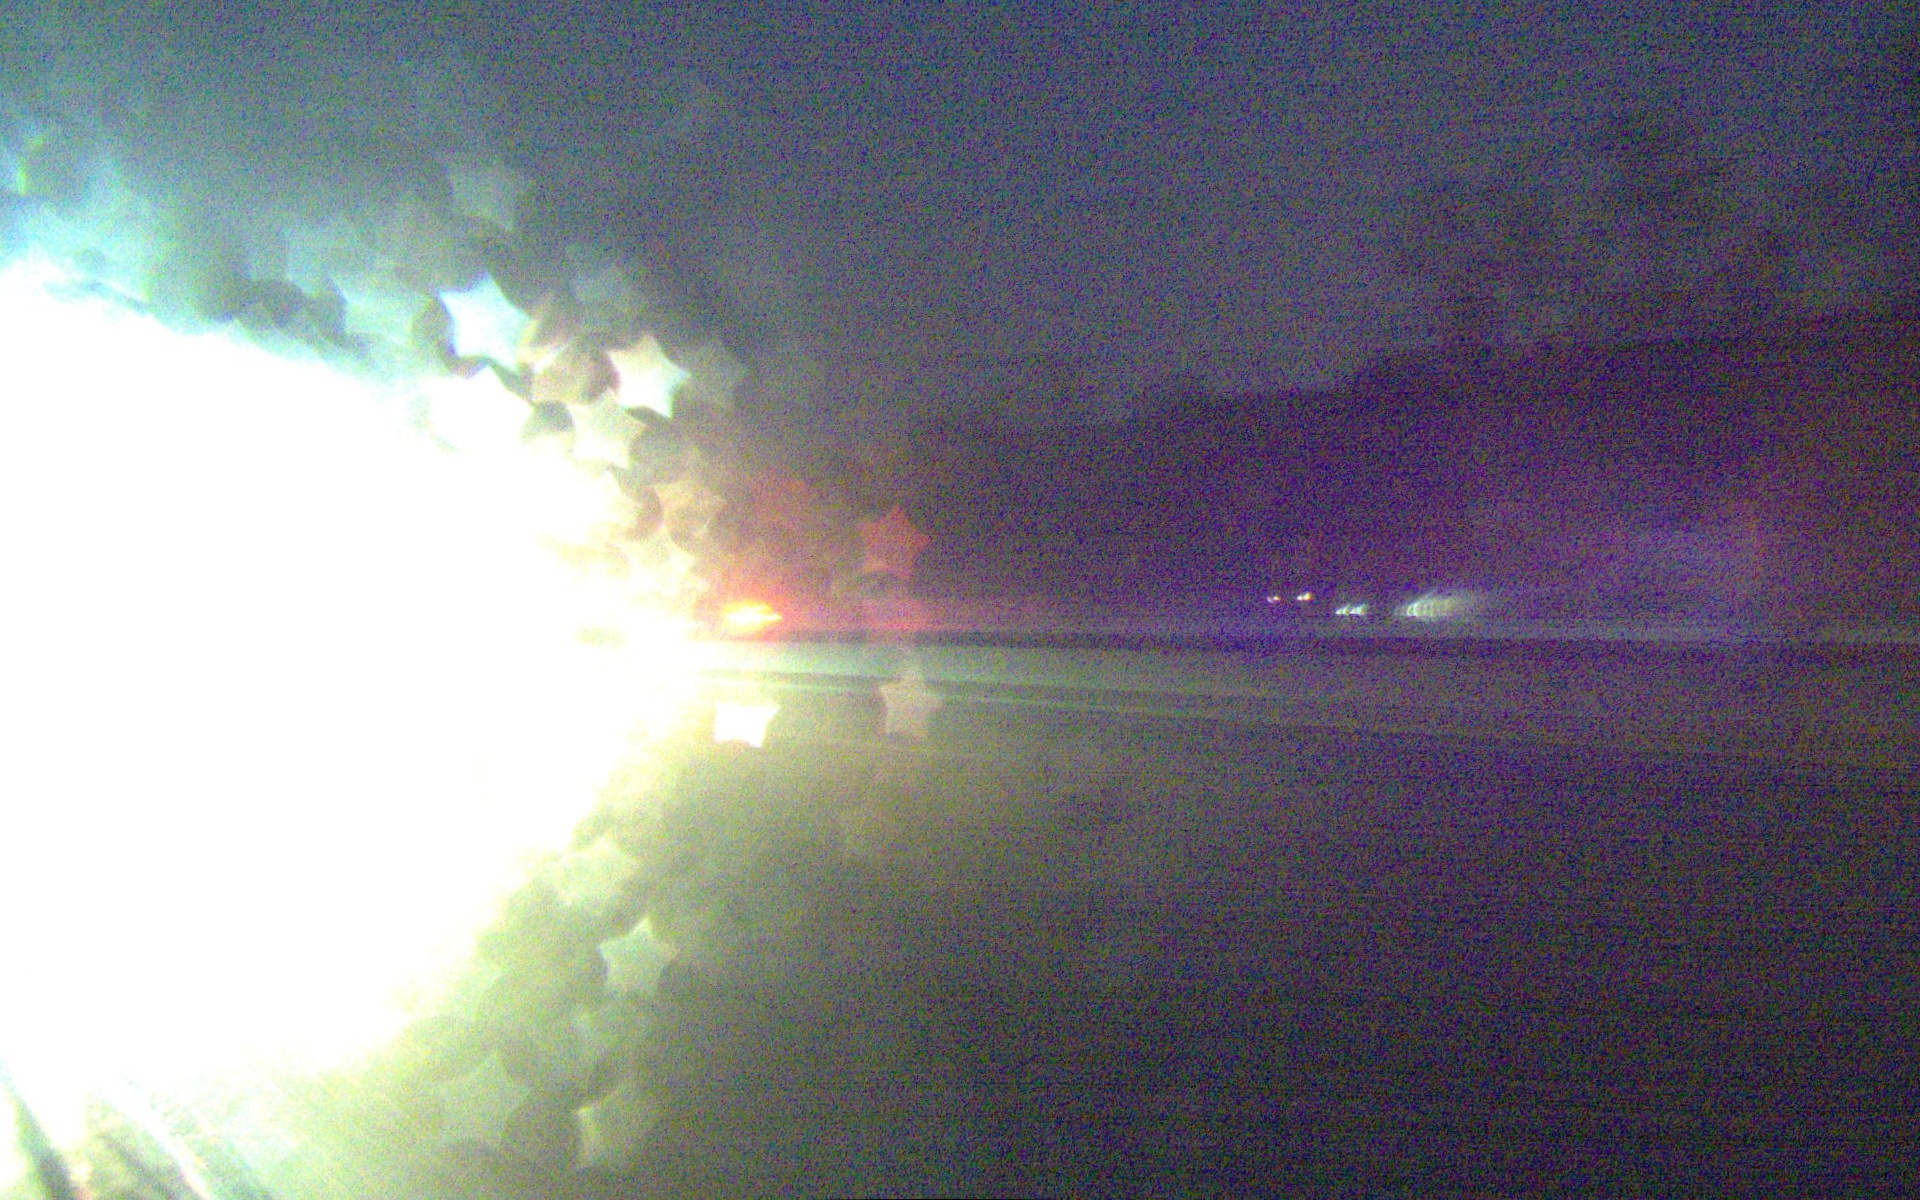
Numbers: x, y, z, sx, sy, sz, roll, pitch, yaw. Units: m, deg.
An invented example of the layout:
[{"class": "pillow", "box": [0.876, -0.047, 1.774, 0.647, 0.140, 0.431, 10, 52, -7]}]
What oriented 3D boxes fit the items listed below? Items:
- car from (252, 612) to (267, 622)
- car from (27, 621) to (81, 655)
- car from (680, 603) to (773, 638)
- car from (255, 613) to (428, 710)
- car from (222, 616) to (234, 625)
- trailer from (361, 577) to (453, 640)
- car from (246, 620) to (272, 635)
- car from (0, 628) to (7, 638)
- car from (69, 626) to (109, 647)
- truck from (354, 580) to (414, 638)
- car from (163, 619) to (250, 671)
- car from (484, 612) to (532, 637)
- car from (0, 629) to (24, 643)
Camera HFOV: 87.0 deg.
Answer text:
[{"class": "car", "box": [-123.971, 3.044, 179.065, 1.754, 1.608, 4.005, -4, 1, -42]}, {"class": "car", "box": [-48.800, 2.005, 54.460, 1.971, 1.689, 4.003, -1, 0, -45]}, {"class": "car", "box": [-11.906, 1.025, 51.365, 5.146, 1.608, 1.759, -1, 2, 39]}, {"class": "car", "box": [-11.992, 1.085, 19.496, 4.235, 1.606, 1.894, -1, 0, 45]}, {"class": "car", "box": [-155.180, 4.333, 214.544, 1.754, 1.608, 4.005, -4, 1, -41]}, {"class": "trailer", "box": [-48.389, 0.723, 88.222, 13.978, 5.106, 3.227, -1, 0, 45]}, {"class": "car", "box": [-80.234, 3.146, 115.784, 1.756, 1.608, 4.002, -3, 2, -45]}, {"class": "car", "box": [-147.599, 5.059, 155.168, 4.001, 1.397, 1.972, -2, 1, 44]}, {"class": "car", "box": [-74.101, 3.080, 86.071, 3.872, 1.621, 2.279, -1, 0, 44]}, {"class": "truck", "box": [-52.654, 0.786, 92.442, 6.030, 5.106, 3.227, -1, 0, 45]}, {"class": "car", "box": [-31.883, 1.834, 42.770, 4.528, 2.029, 2.115, -1, 0, 42]}, {"class": "car", "box": [-31.892, 1.722, 71.356, 1.755, 1.608, 4.228, -3, 2, -44]}, {"class": "car", "box": [-86.634, 3.274, 92.398, 1.669, 1.165, 3.423, -1, 0, -45]}]
